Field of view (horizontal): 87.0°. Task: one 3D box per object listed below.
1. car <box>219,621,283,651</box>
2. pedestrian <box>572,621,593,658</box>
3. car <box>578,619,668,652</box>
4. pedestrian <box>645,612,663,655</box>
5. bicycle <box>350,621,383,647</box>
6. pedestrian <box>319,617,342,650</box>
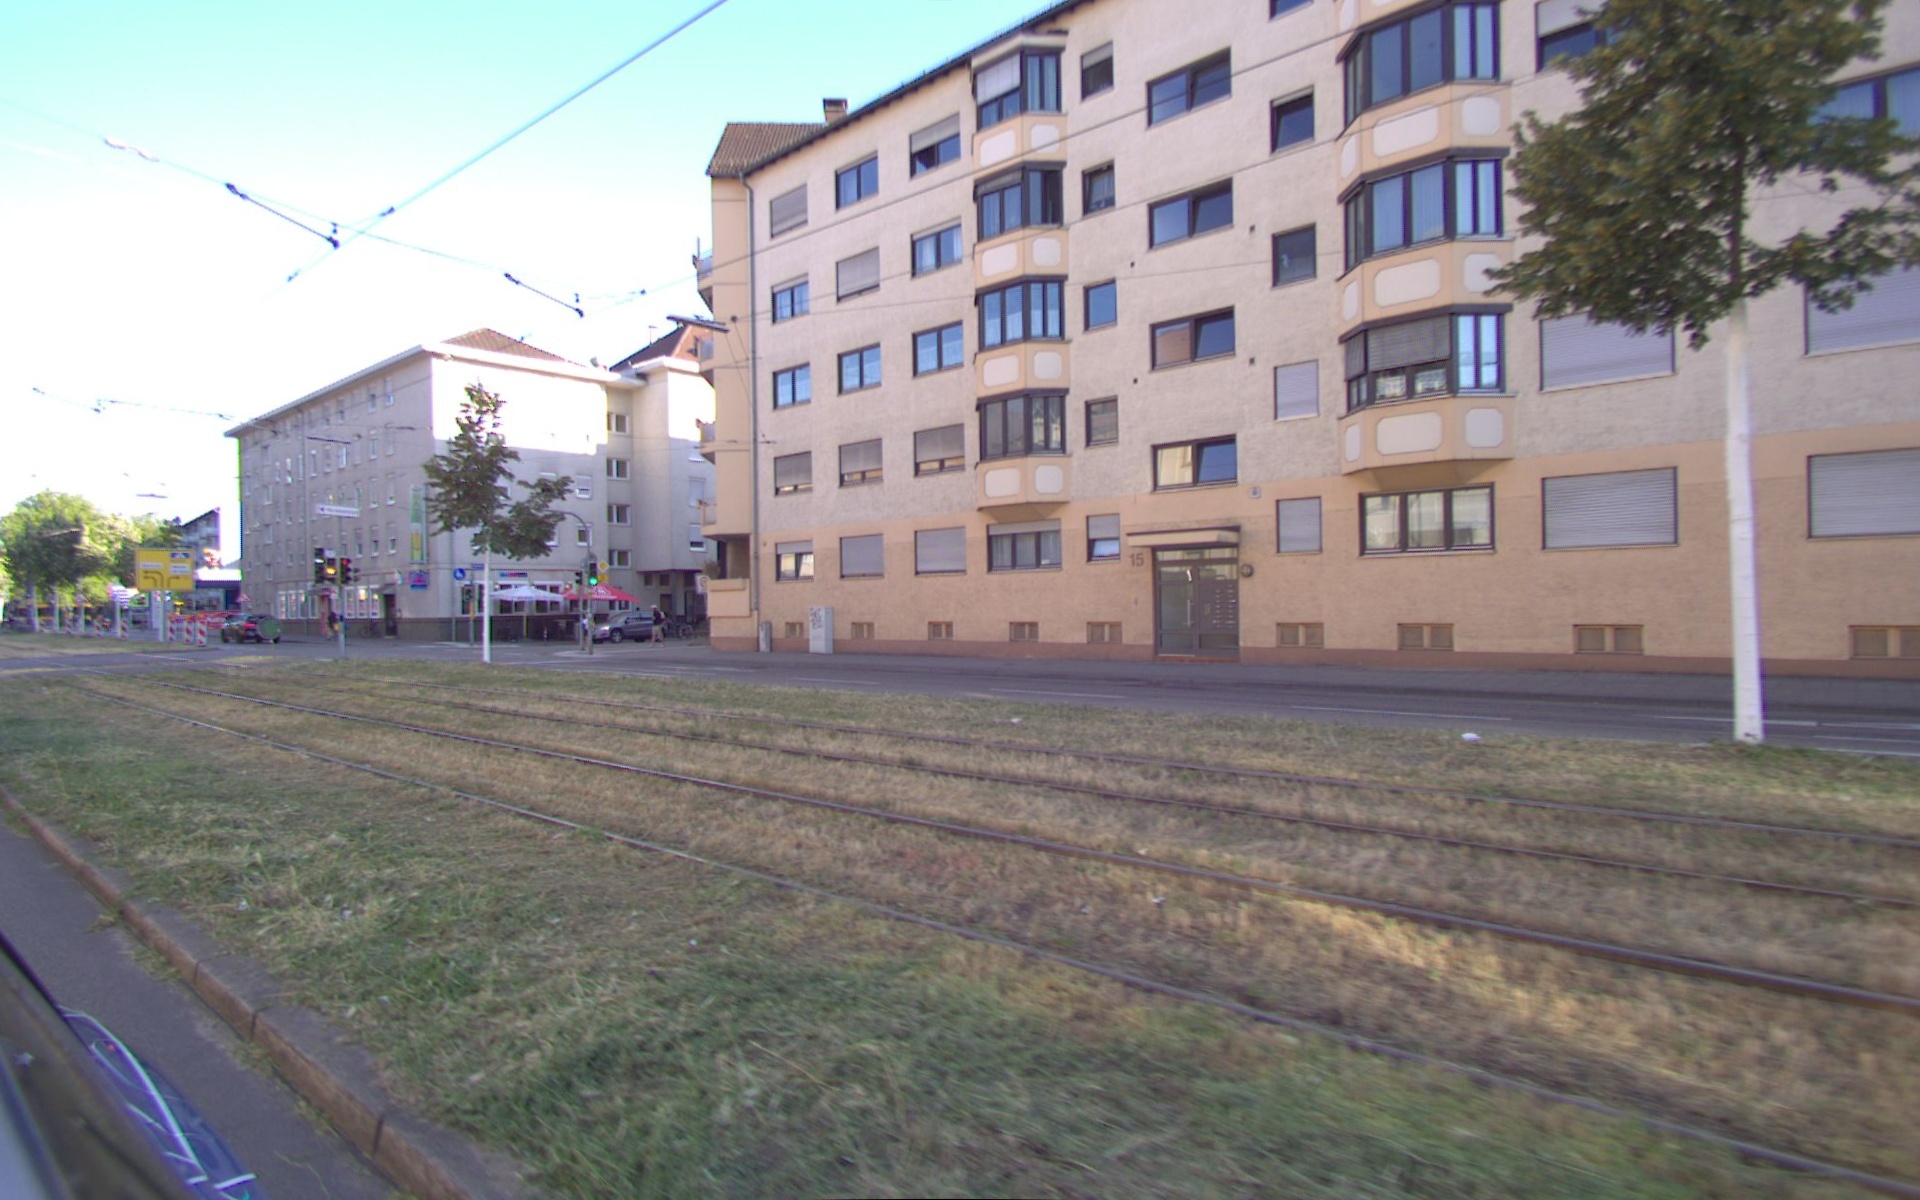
[{"bbox_3d":[-39.143,1.979,55.821,4.467,1.603,1.897,-2,-2,41],"label":"car"},{"bbox_3d":[-15.695,1.633,42.124,0.582,1.501,0.616,-1,0,41],"label":"pedestrian"},{"bbox_3d":[-17.280,1.791,51.982,1.997,1.519,3.950,-1,-1,37],"label":"car"},{"bbox_3d":[-12.832,1.389,42.475,0.624,1.784,0.827,0,-1,-24],"label":"pedestrian"},{"bbox_3d":[-33.649,1.913,57.362,3.235,1.388,0.572,-1,-1,41],"label":"bicycle"},{"bbox_3d":[-34.084,1.789,54.811,1.225,1.754,0.733,-1,-1,41],"label":"pedestrian"}]
